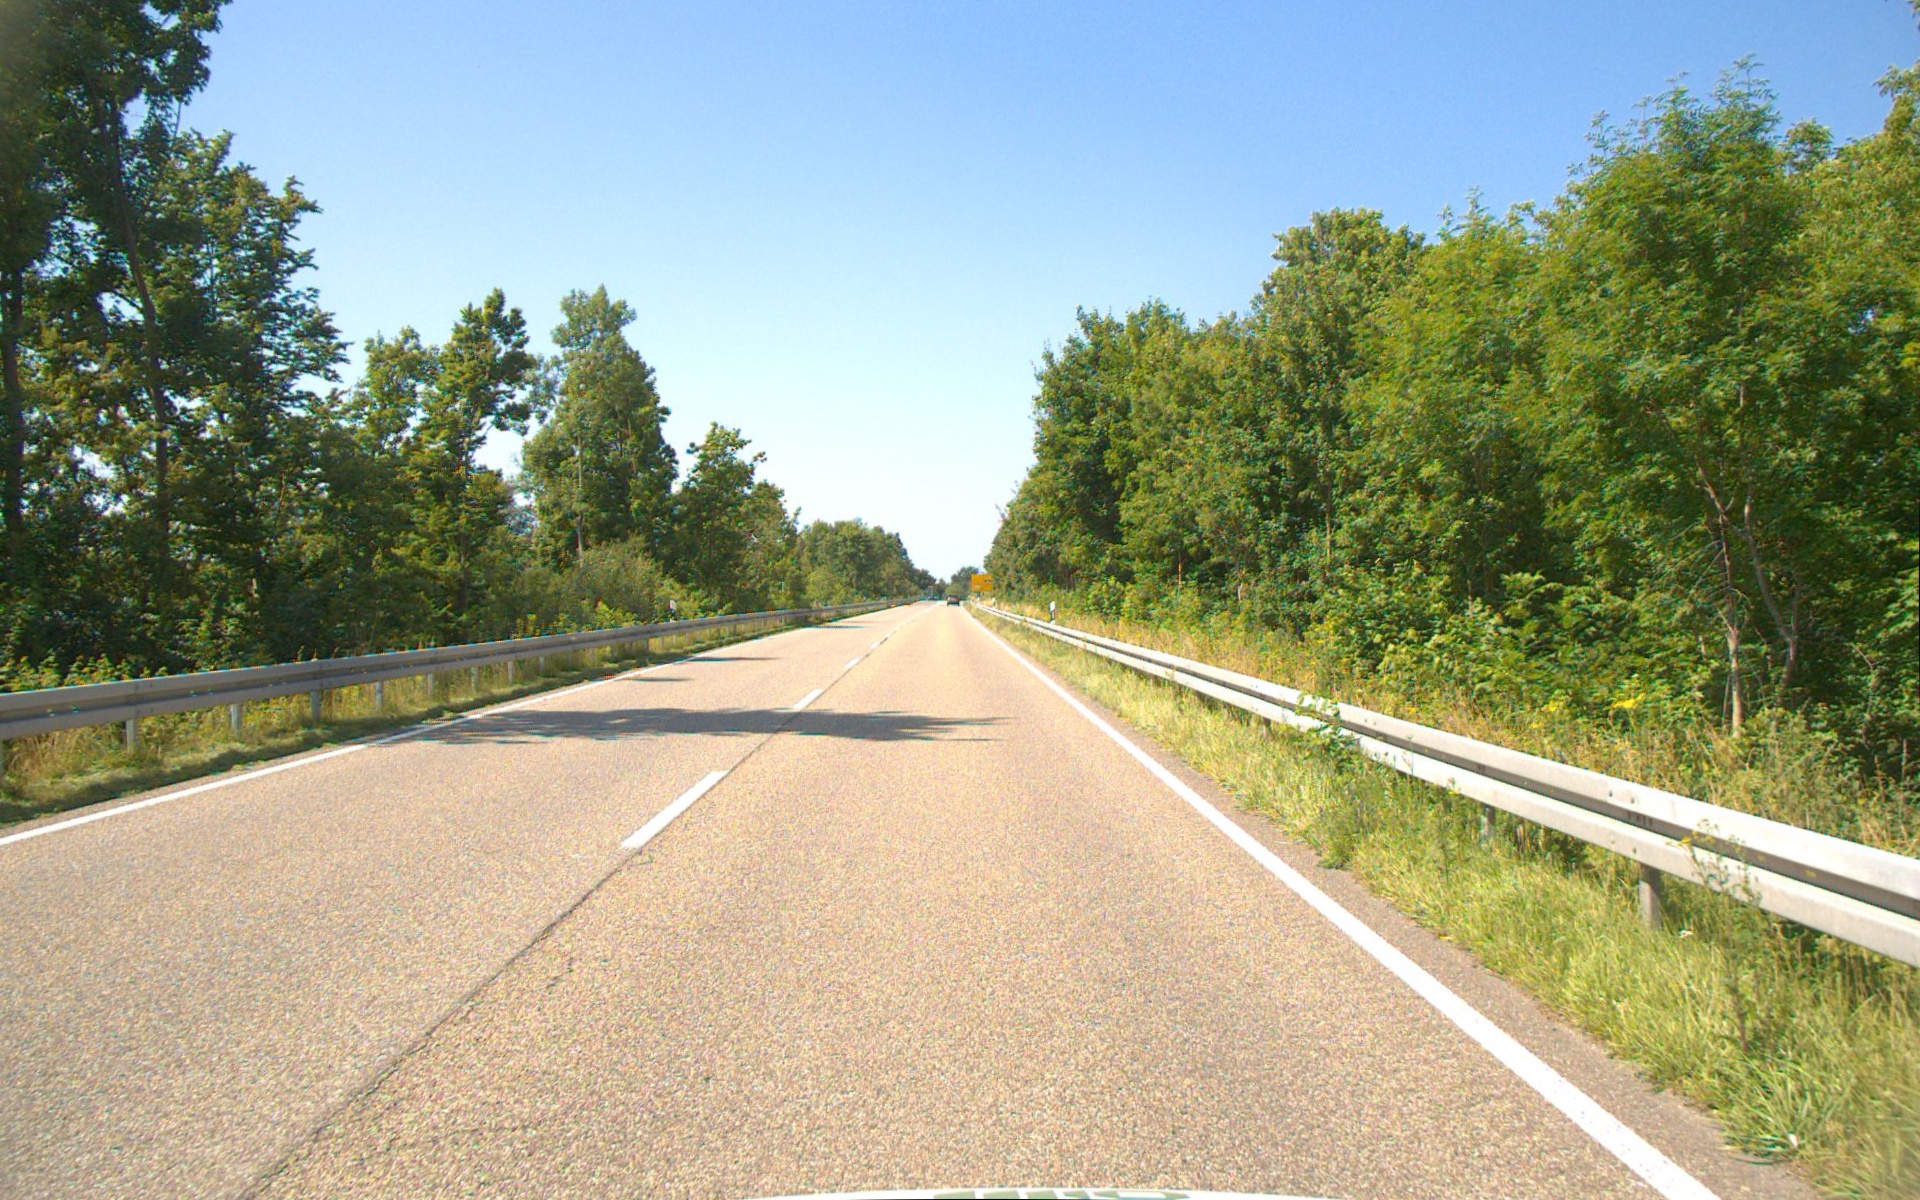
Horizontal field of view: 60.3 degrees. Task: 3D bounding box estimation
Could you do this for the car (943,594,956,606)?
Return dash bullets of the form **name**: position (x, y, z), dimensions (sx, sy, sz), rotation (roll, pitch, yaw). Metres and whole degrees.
- **car**: position (-1.484, -0.004, 226.590), dimensions (1.705, 1.496, 3.693), rotation (1, 0, 1)
